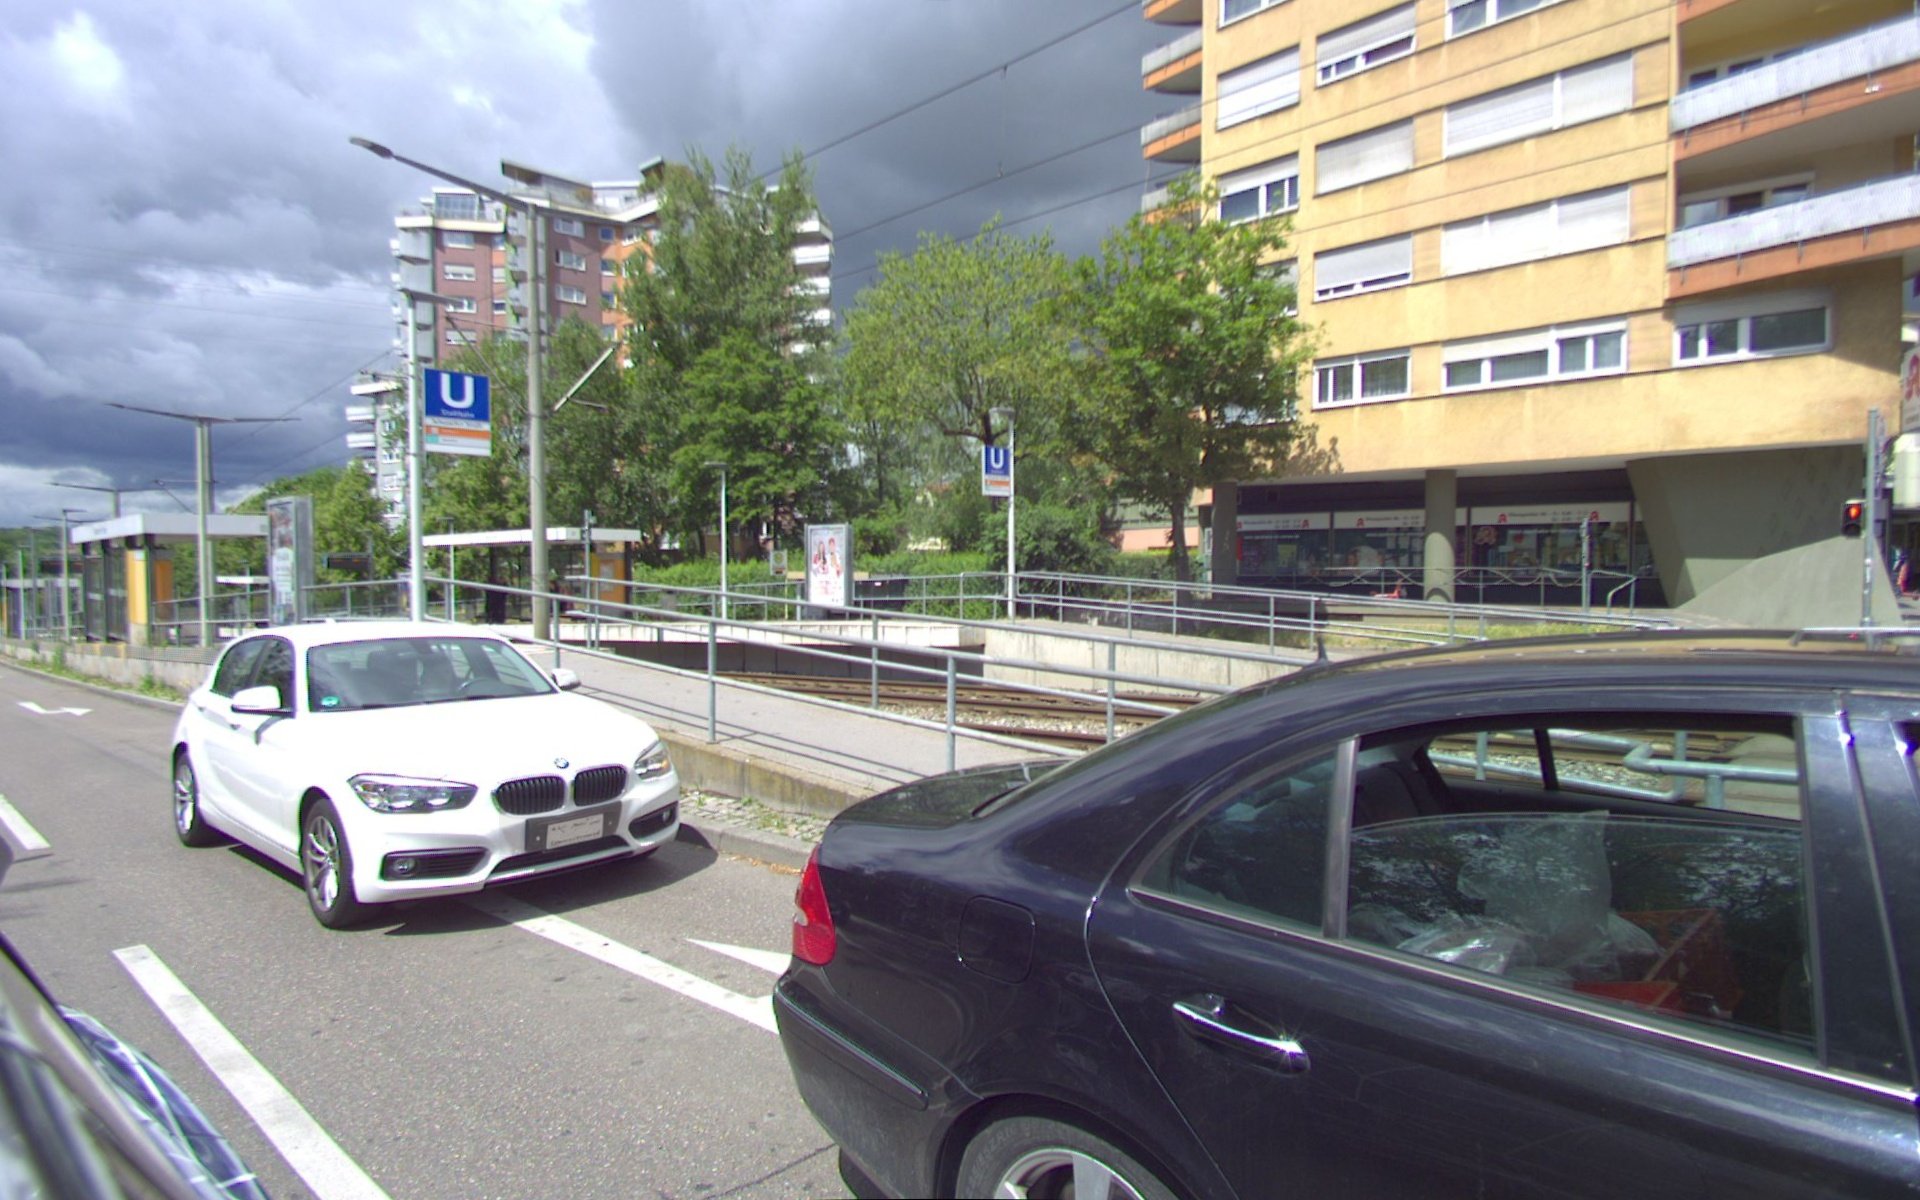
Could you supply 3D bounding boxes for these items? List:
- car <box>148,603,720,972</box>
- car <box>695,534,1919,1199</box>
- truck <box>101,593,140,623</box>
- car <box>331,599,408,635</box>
[{"bbox_3d":[-3.348,0.784,6.072,3.998,1.472,1.710,-1,0,41],"label":"car"},{"bbox_3d":[1.681,0.661,1.391,4.542,1.472,1.710,-1,0,41],"label":"car"},{"bbox_3d":[-98.995,0.958,119.295,7.260,3.247,2.389,-2,-1,42],"label":"truck"},{"bbox_3d":[-28.736,0.838,49.173,4.459,1.647,1.972,-1,-2,42],"label":"car"}]
